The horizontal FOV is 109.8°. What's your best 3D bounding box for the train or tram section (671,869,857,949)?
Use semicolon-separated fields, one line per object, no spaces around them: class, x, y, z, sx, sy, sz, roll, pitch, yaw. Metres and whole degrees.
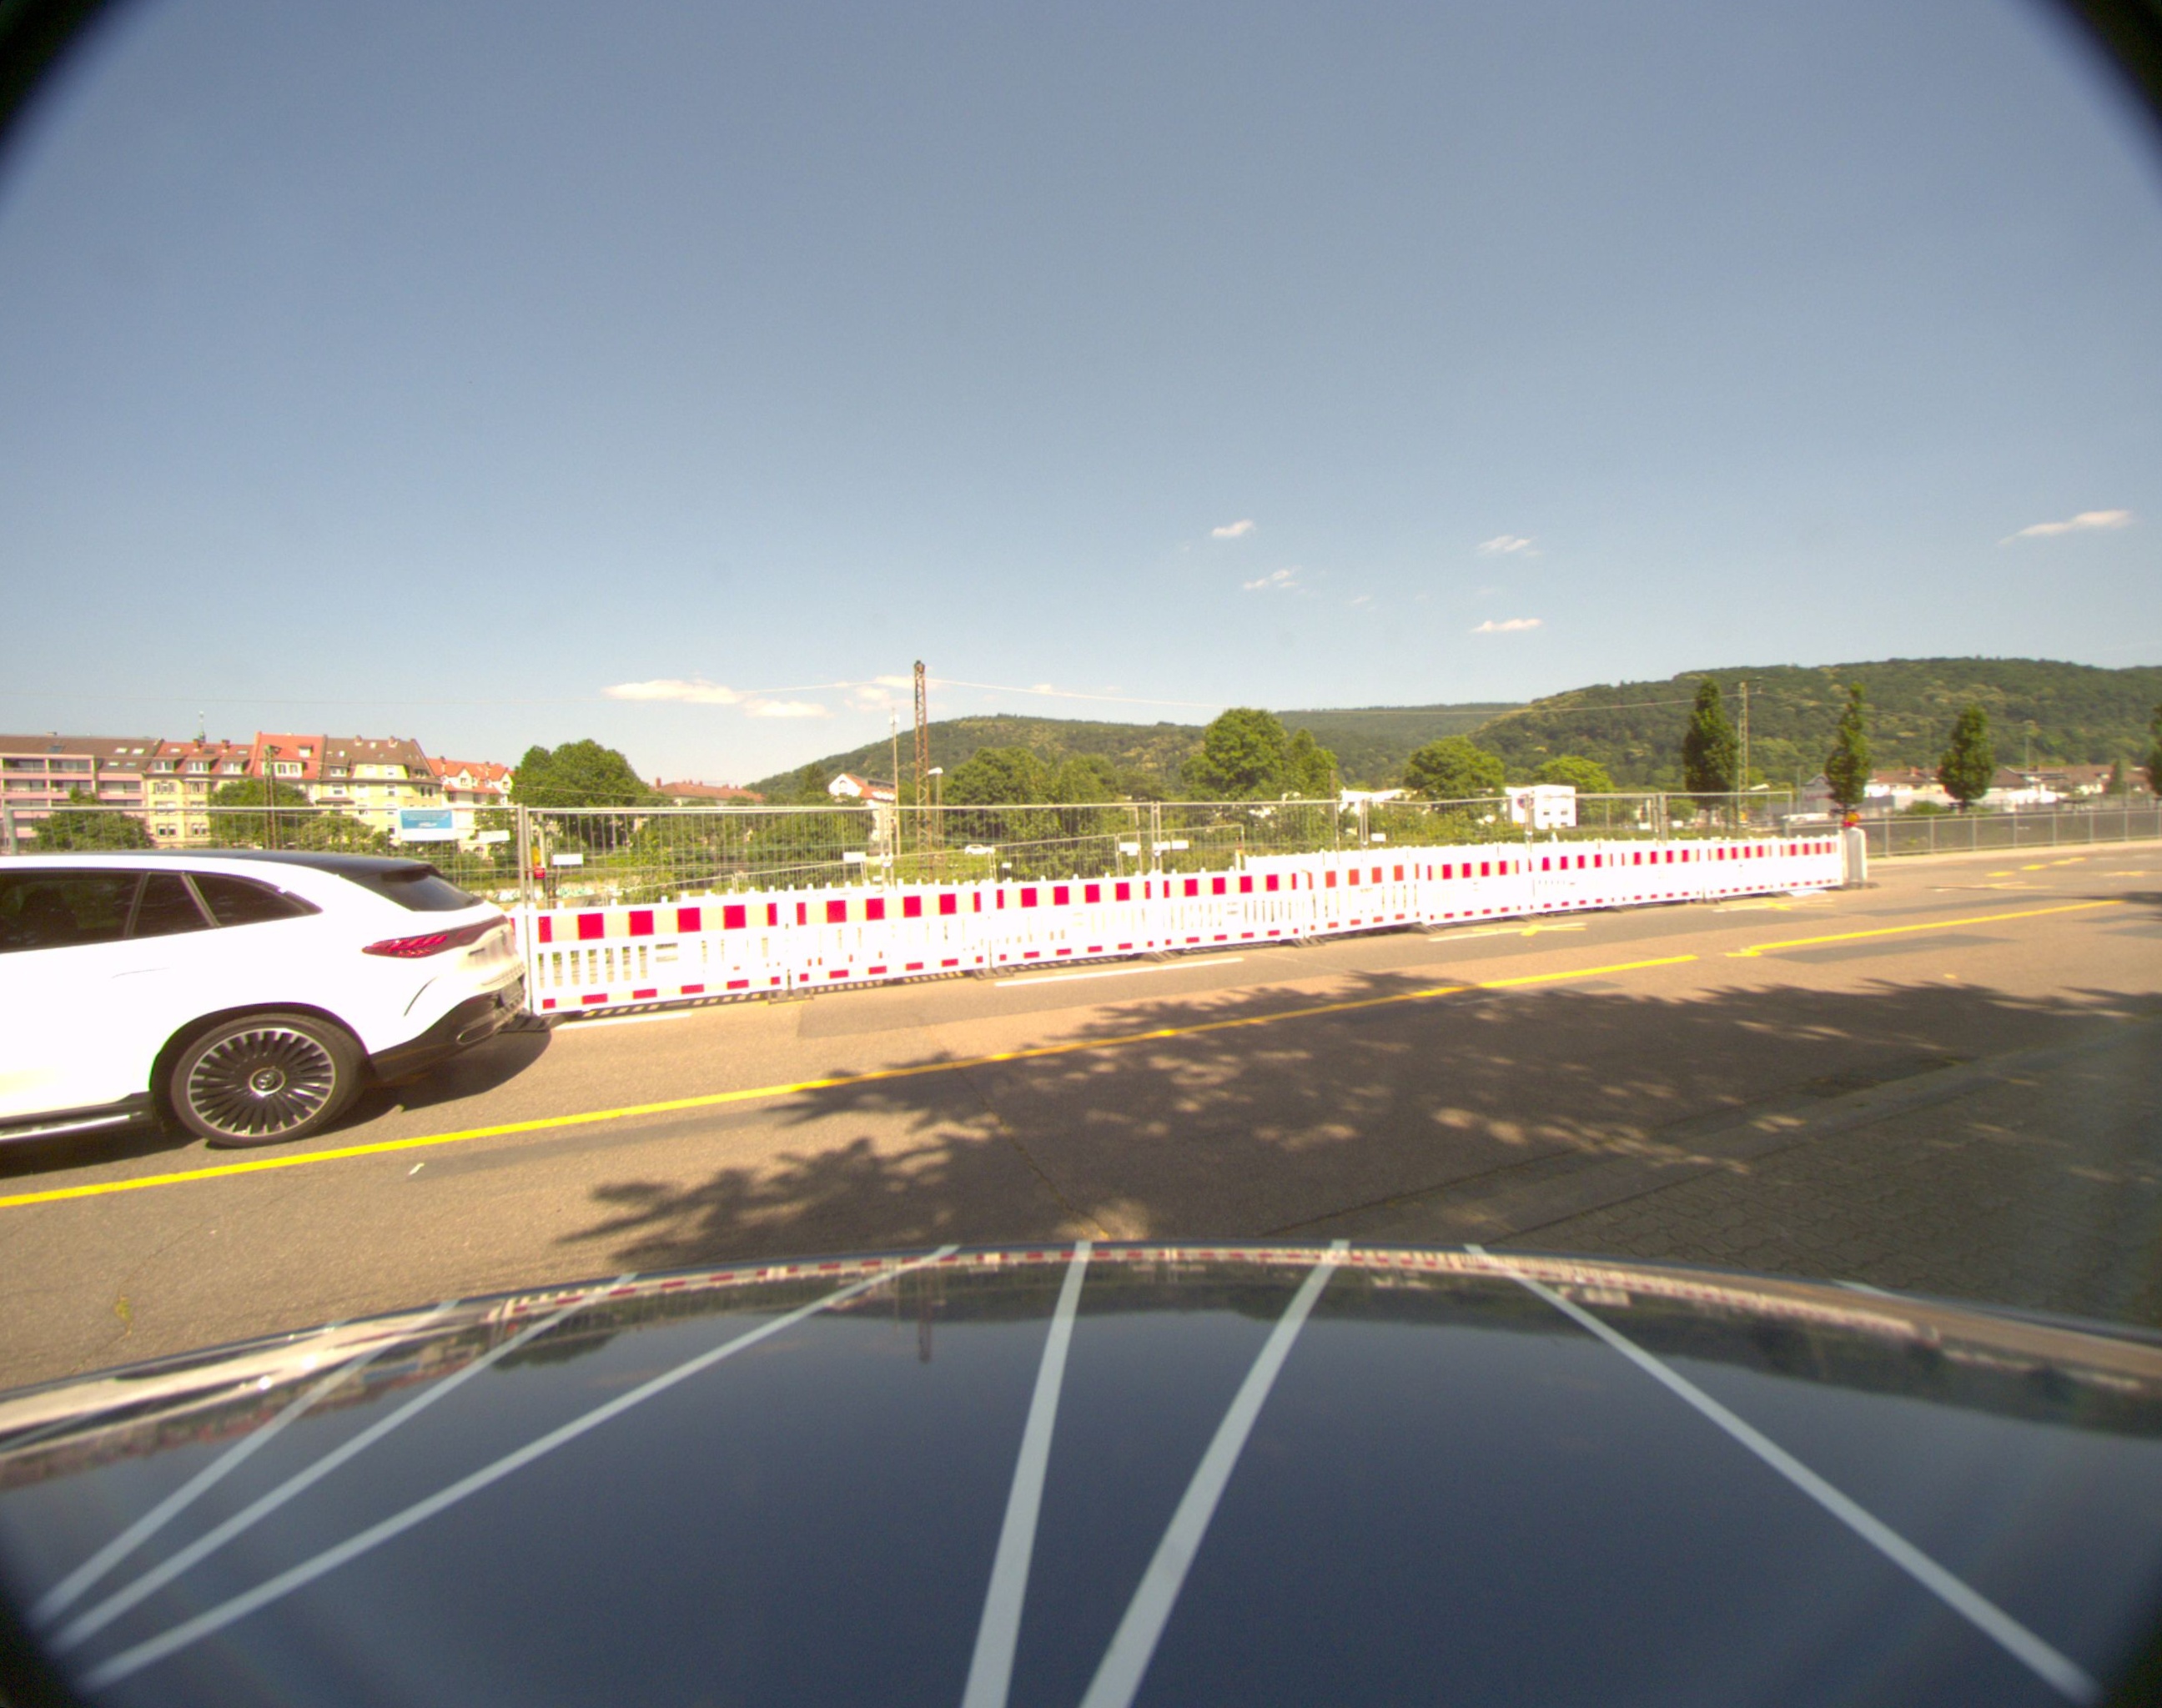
train or tram section;-17.388;2.951;42.380;8.974;3.689;3.022;-3;0;-11

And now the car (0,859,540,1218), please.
car;-6.400;0.986;4.335;5.037;1.636;1.995;-3;3;-25

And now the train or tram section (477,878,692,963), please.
train or tram section;-26.192;3.442;40.613;8.974;3.681;3.022;-3;0;-11

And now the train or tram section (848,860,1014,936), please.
train or tram section;-8.618;2.460;44.133;8.974;3.692;3.022;-3;0;-11
